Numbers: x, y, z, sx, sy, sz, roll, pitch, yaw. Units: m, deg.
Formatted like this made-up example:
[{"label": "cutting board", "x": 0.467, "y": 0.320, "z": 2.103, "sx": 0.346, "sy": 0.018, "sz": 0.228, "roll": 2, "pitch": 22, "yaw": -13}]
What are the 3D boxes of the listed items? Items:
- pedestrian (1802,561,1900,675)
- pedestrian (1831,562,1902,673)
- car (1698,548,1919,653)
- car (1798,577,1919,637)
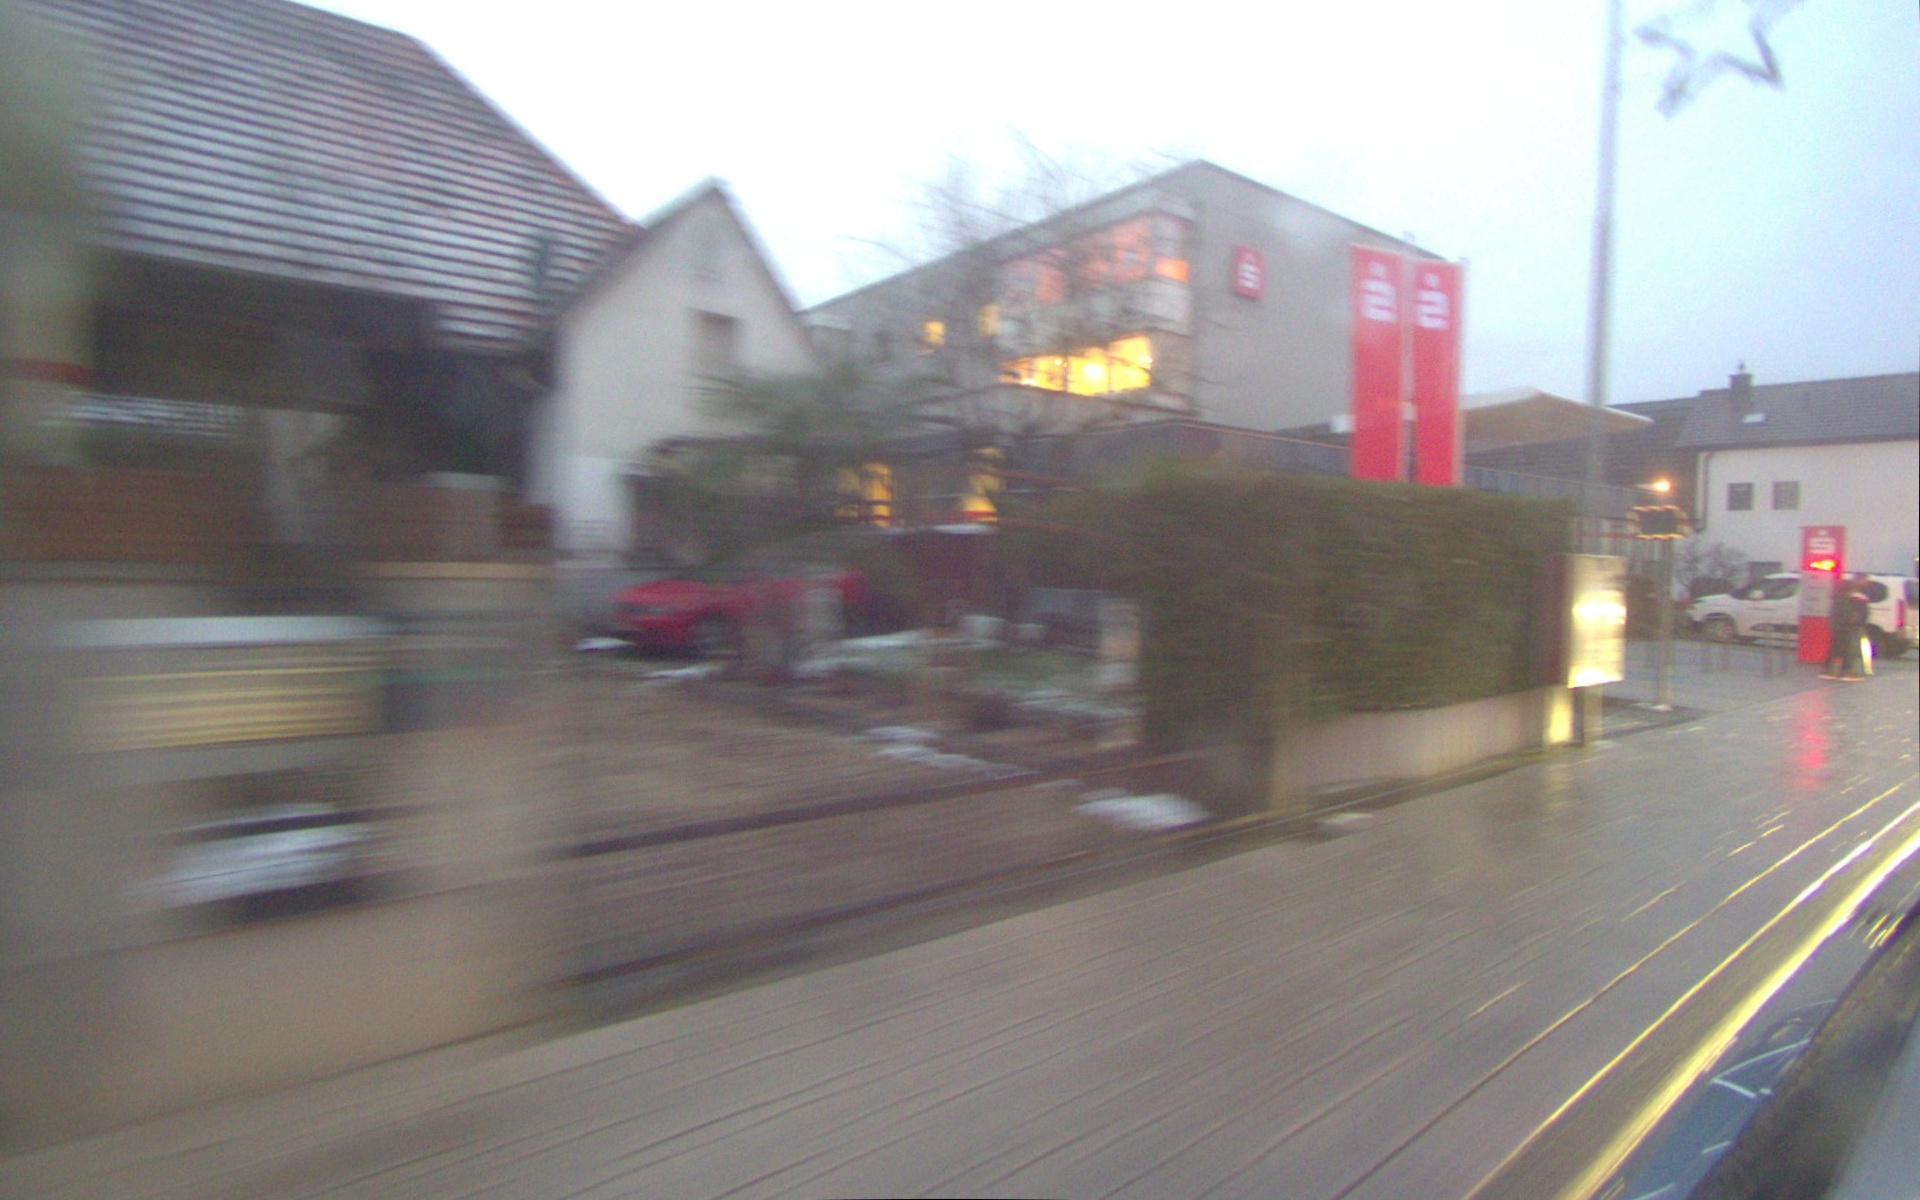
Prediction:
[{"label": "pedestrian", "x": 14.088, "y": 0.261, "z": 16.014, "sx": 0.828, "sy": 1.725, "sz": 0.841, "roll": 1, "pitch": 3, "yaw": -27}, {"label": "pedestrian", "x": 14.762, "y": 0.255, "z": 16.481, "sx": 0.899, "sy": 1.725, "sz": 0.704, "roll": -1, "pitch": 4, "yaw": -43}, {"label": "car", "x": 19.853, "y": -0.064, "z": 23.279, "sx": 1.960, "sy": 2.074, "sz": 4.111, "roll": 0, "pitch": 4, "yaw": -30}, {"label": "car", "x": 26.122, "y": 0.190, "z": 28.109, "sx": 1.877, "sy": 1.504, "sz": 4.001, "roll": -1, "pitch": 4, "yaw": -35}]
